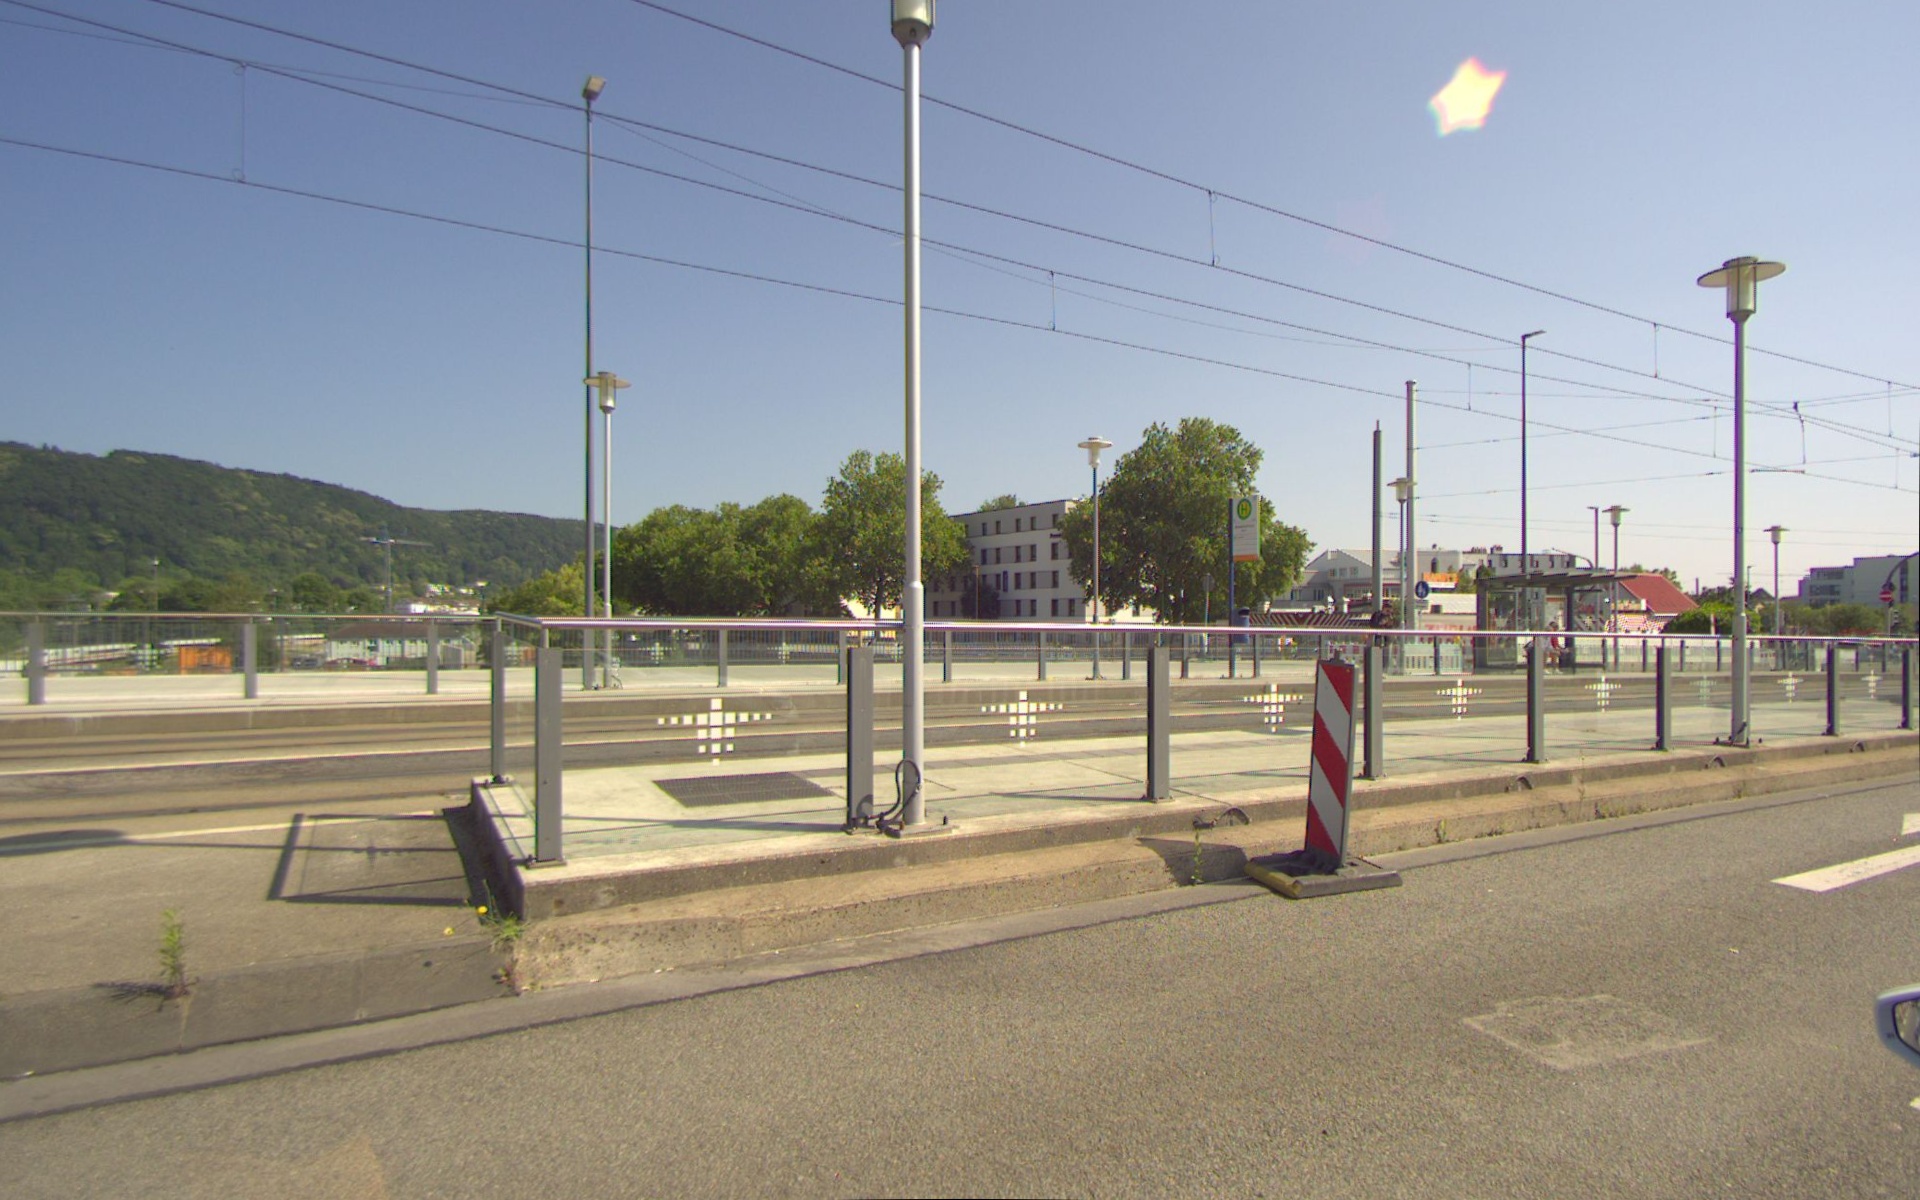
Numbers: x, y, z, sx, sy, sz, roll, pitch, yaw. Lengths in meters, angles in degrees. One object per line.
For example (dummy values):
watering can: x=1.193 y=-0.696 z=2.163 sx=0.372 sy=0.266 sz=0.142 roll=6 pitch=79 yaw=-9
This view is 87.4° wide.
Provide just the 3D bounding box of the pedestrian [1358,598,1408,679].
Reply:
pedestrian: x=8.908 y=0.804 z=21.153 sx=0.728 sy=1.676 sz=0.659 roll=0 pitch=-1 yaw=-18

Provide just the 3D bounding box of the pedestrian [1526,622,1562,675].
pedestrian: x=14.618 y=1.205 z=25.148 sx=0.447 sy=1.291 sz=0.646 roll=1 pitch=-1 yaw=-26

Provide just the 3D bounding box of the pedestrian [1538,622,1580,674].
pedestrian: x=15.138 y=1.206 z=25.404 sx=0.688 sy=1.291 sz=0.646 roll=1 pitch=-1 yaw=-26
